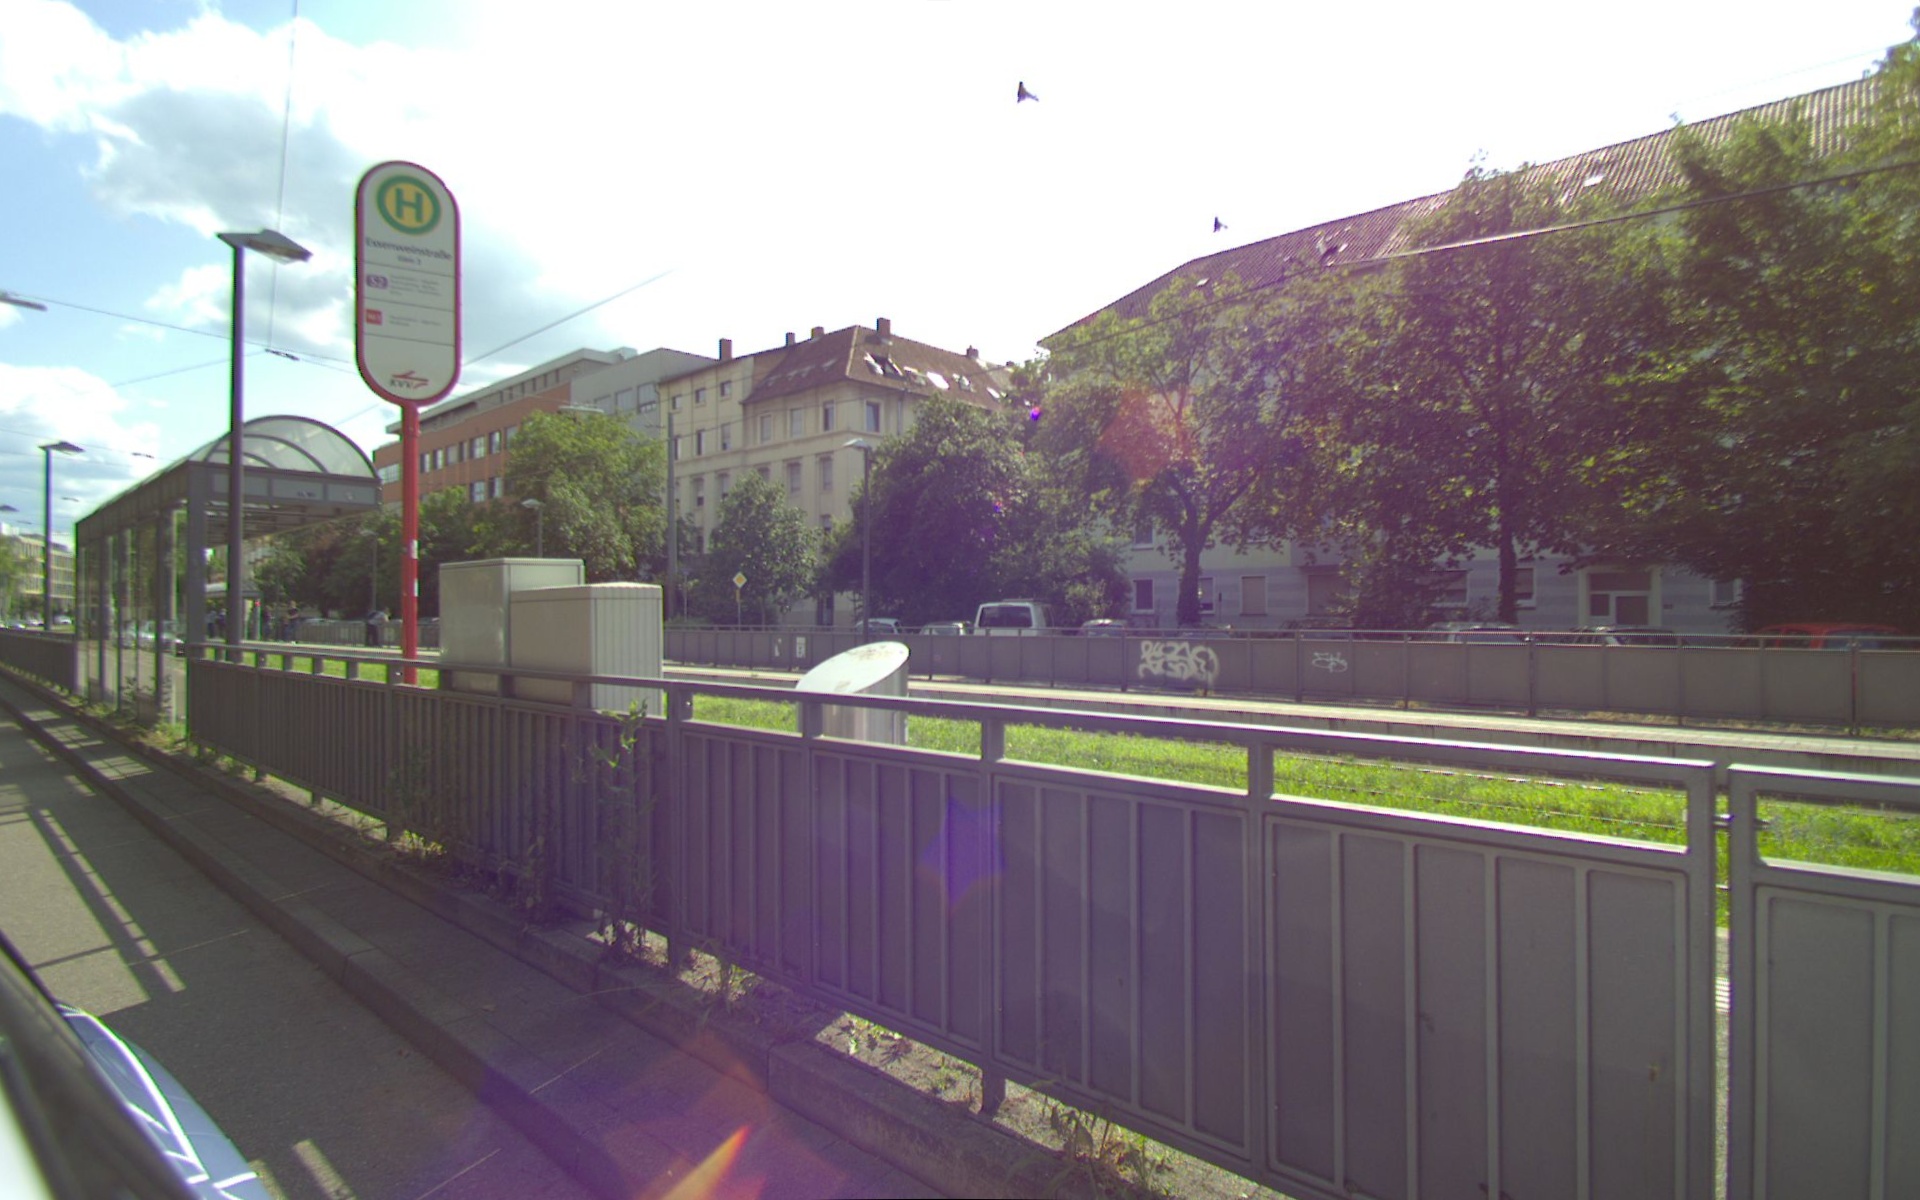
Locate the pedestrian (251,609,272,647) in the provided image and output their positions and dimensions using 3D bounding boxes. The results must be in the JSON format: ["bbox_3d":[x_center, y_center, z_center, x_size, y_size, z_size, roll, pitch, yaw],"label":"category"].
[{"bbox_3d":[-33.298,1.335,48.247,0.599,1.767,0.626,0,-1,-7],"label":"pedestrian"}]

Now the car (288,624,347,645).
[{"bbox_3d":[-47.976,2.550,75.702,1.631,1.508,3.993,-1,-1,6],"label":"car"}]

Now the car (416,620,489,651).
[{"bbox_3d":[-28.407,1.955,56.813,1.811,1.652,4.132,1,-1,3],"label":"car"}]

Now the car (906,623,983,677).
[{"bbox_3d":[-0.398,1.449,30.194,1.591,1.497,3.988,-1,-1,9],"label":"car"}]

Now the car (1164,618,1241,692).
[{"bbox_3d":[5.684,1.244,23.967,1.632,1.591,3.652,-1,-1,12],"label":"car"}]

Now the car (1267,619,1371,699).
[{"bbox_3d":[7.739,1.226,22.110,1.632,1.591,3.652,-1,-1,12],"label":"car"}]

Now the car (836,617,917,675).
[{"bbox_3d":[-2.546,1.400,31.844,1.805,1.652,3.992,-2,-1,6],"label":"car"}]

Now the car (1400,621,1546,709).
[{"bbox_3d":[9.851,1.171,19.742,1.593,1.525,4.011,0,-1,13],"label":"car"}]

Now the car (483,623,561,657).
[{"bbox_3d":[-21.545,1.941,49.983,1.901,1.576,4.150,1,-1,2],"label":"car"}]

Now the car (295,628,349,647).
[{"bbox_3d":[-45.819,2.667,72.724,1.585,1.314,3.244,-1,-1,8],"label":"car"}]

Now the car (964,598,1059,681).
[{"bbox_3d":[1.499,1.055,27.813,2.029,2.086,3.937,-1,-1,12],"label":"car"}]

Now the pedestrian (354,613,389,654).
[{"bbox_3d":[-22.895,1.288,39.381,0.798,1.590,0.978,-1,-1,40],"label":"pedestrian"}]

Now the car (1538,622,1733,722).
[{"bbox_3d":[11.908,1.193,18.130,1.632,1.591,3.652,-1,-1,12],"label":"car"}]

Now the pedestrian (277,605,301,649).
[{"bbox_3d":[-29.844,1.185,45.022,0.742,1.906,0.639,1,1,-45],"label":"pedestrian"}]

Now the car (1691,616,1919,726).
[{"bbox_3d":[13.825,1.066,16.552,1.632,1.591,3.652,-1,-1,12],"label":"car"}]

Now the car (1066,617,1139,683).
[{"bbox_3d":[3.803,1.256,26.522,1.701,1.591,3.937,-1,-1,11],"label":"car"}]

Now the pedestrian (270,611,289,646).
[{"bbox_3d":[-32.735,1.360,48.680,0.625,1.687,0.600,-1,-1,43],"label":"pedestrian"}]

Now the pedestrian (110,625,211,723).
[{"bbox_3d":[-9.196,0.838,11.662,0.652,1.080,0.725,0,-2,-13],"label":"pedestrian"}]
